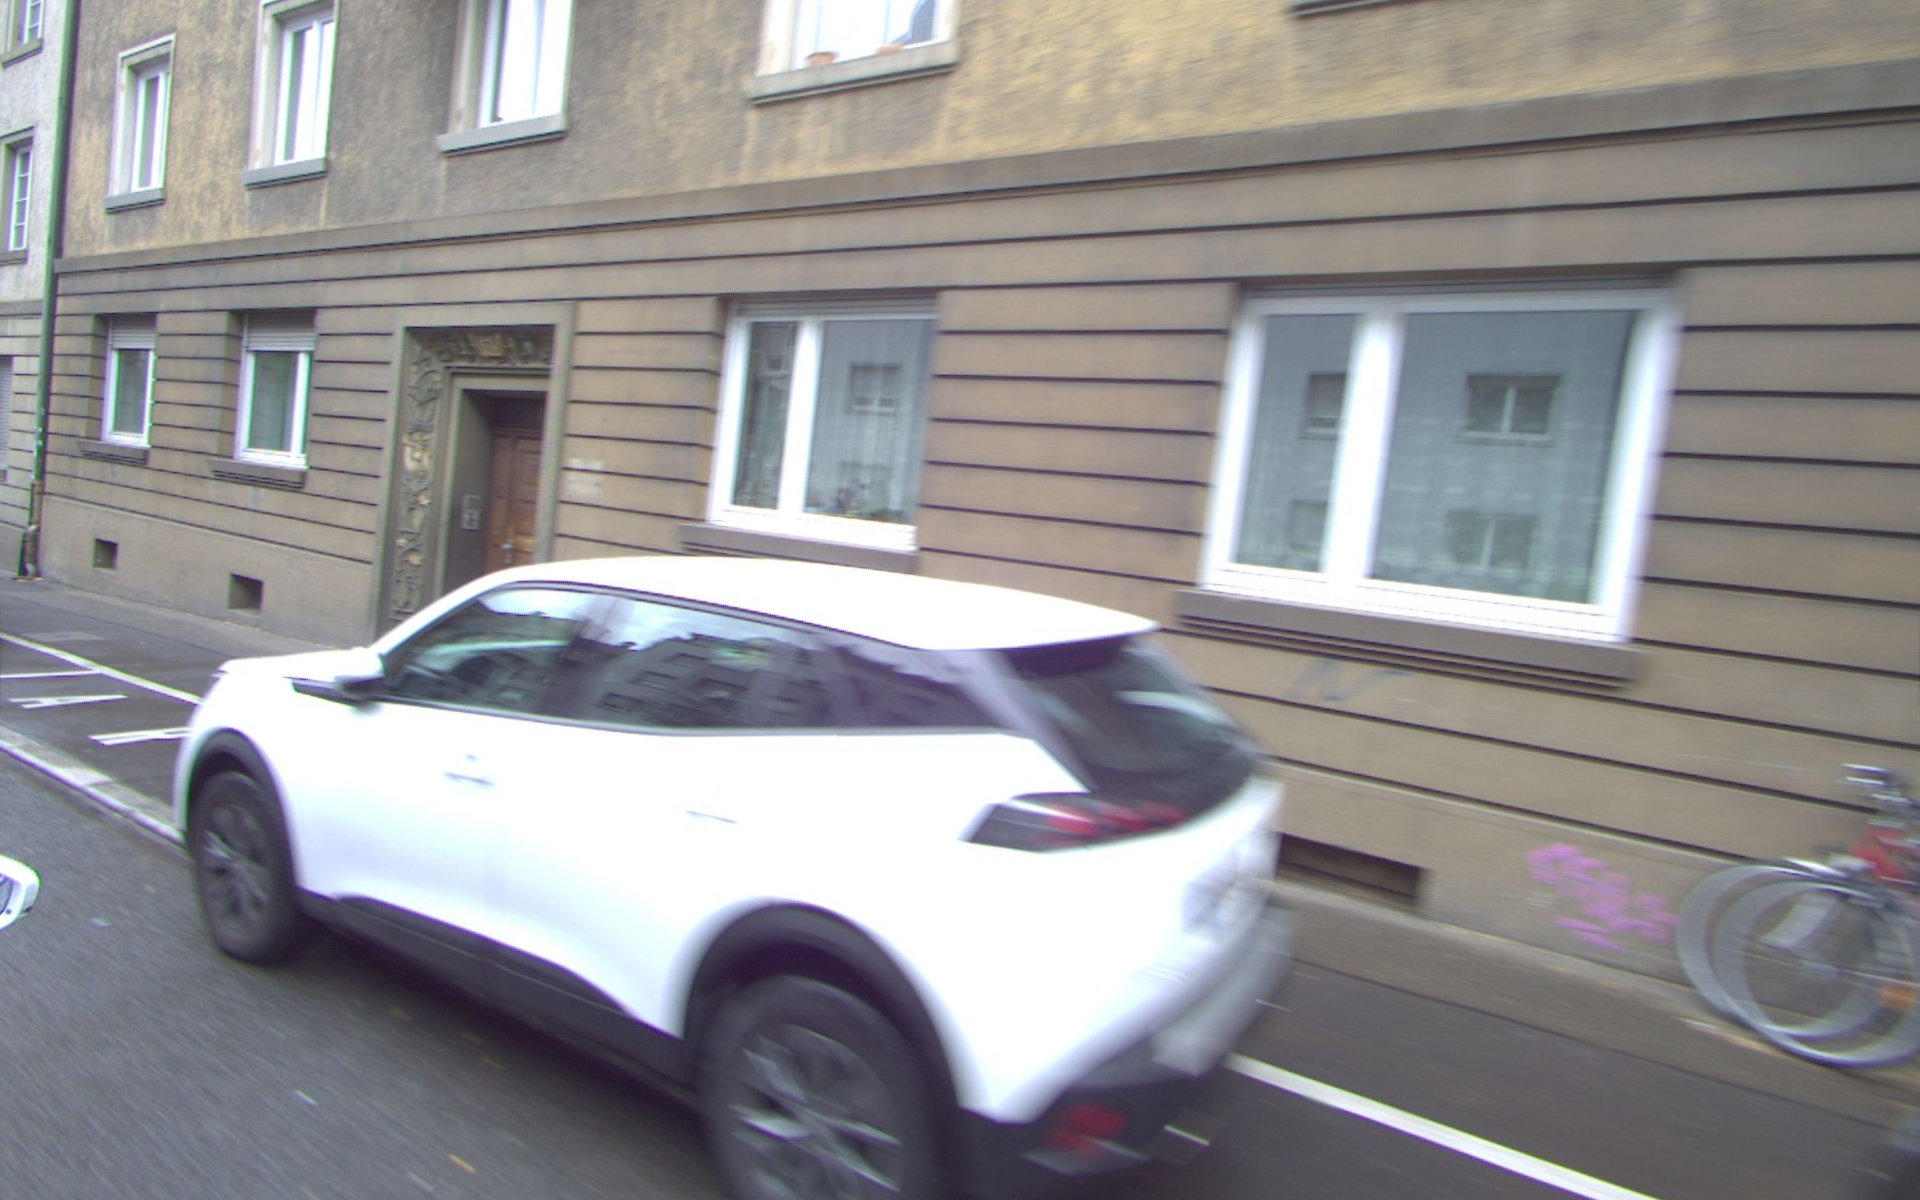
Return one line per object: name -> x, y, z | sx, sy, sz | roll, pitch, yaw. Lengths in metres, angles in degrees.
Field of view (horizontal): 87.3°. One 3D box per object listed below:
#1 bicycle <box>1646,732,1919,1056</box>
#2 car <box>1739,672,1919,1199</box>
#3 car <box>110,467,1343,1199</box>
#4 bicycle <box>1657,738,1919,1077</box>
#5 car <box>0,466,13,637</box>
bicycle -> 3.901, 1.204, 3.792 | 2.072, 1.088, 0.247 | 6, 4, 32
car -> 3.217, 1.112, 0.897 | 3.671, 1.500, 1.631 | 6, 5, 30
car -> -1.044, 0.523, 3.512 | 4.124, 1.661, 1.631 | 6, 4, 30
bicycle -> 3.795, 1.203, 3.565 | 2.072, 1.088, 0.247 | 6, 4, 32
car -> -10.971, -0.667, 9.603 | 4.155, 1.569, 1.790 | 7, 3, 32
